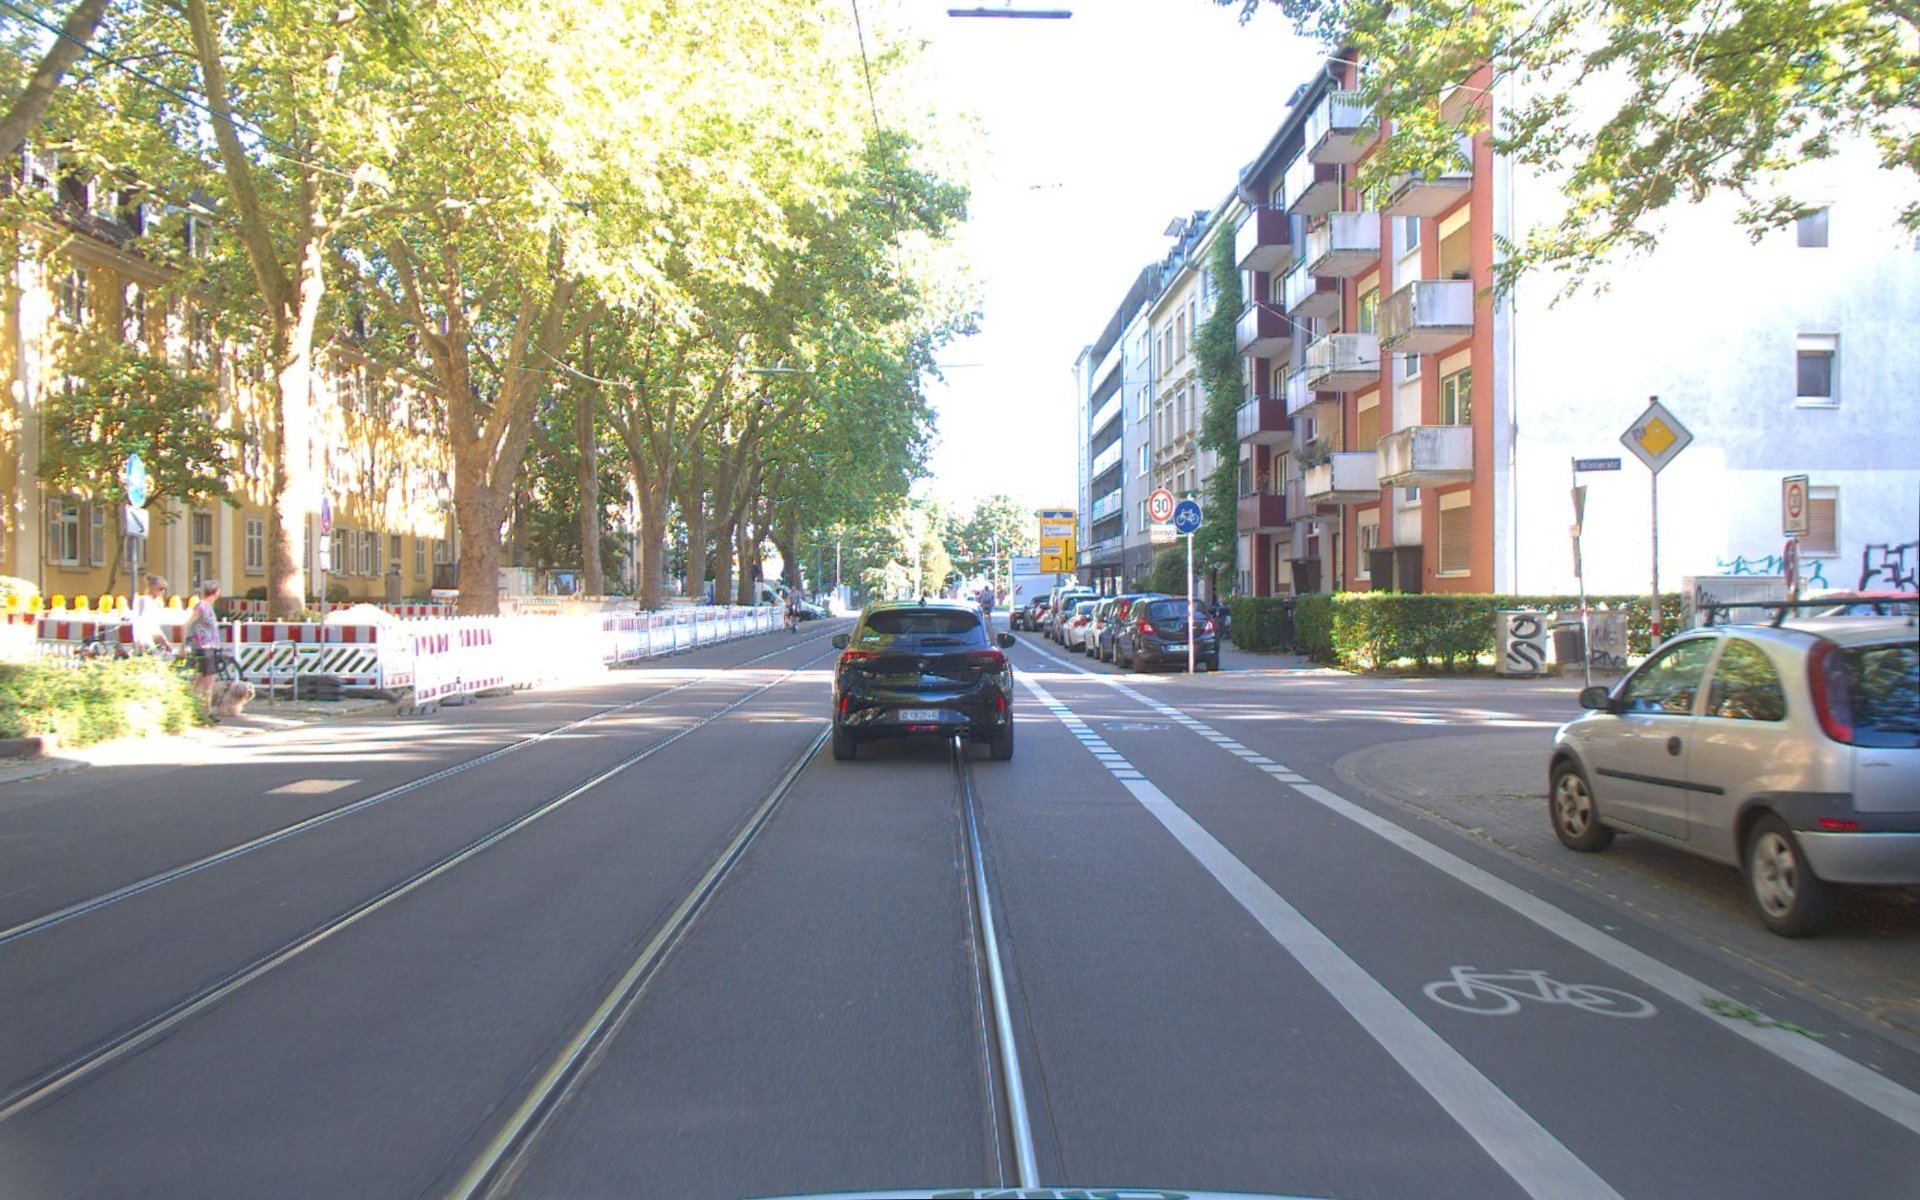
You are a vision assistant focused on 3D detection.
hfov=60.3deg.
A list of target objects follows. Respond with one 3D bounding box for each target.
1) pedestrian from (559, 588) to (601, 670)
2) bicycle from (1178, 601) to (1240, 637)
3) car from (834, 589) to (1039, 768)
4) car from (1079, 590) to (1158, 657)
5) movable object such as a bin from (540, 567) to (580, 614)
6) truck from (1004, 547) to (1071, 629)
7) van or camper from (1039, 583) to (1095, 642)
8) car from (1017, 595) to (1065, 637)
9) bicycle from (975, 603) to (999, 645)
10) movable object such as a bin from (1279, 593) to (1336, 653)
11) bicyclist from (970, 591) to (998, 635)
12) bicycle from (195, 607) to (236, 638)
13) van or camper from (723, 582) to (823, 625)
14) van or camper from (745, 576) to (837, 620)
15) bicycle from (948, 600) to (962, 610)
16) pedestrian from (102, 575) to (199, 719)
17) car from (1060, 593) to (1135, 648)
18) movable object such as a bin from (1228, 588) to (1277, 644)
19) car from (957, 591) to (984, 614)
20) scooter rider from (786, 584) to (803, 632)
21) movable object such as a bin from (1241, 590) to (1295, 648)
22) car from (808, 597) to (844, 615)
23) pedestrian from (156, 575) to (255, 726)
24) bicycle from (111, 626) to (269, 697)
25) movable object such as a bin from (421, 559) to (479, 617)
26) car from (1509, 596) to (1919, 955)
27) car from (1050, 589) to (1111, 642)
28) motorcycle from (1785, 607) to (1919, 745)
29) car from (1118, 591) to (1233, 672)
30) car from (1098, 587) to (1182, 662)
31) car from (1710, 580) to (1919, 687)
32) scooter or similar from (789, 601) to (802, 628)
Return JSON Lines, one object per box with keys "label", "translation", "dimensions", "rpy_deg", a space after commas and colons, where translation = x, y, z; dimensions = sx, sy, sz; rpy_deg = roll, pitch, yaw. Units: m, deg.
{"label": "pedestrian", "translation": [-8.010, 0.598, 34.889], "dimensions": [0.702, 1.698, 0.778], "rpy_deg": [1, 0, -1]}
{"label": "bicycle", "translation": [7.780, 0.595, 51.763], "dimensions": [1.854, 1.047, 0.476], "rpy_deg": [-2, 0, 4]}
{"label": "car", "translation": [-0.242, 0.662, 16.159], "dimensions": [1.745, 1.522, 3.999], "rpy_deg": [0, 0, -1]}
{"label": "car", "translation": [3.979, 0.568, 41.960], "dimensions": [1.559, 1.553, 3.834], "rpy_deg": [-2, 0, 0]}
{"label": "movable object such as a bin", "translation": [-14.671, -0.333, 60.740], "dimensions": [1.075, 1.674, 1.559], "rpy_deg": [1, 0, -1]}
{"label": "truck", "translation": [3.448, -0.530, 74.925], "dimensions": [2.487, 3.396, 7.194], "rpy_deg": [-3, 0, 0]}
{"label": "van or camper", "translation": [3.694, 0.410, 57.725], "dimensions": [1.635, 1.915, 4.210], "rpy_deg": [-1, 0, 0]}
{"label": "car", "translation": [3.343, 0.648, 68.839], "dimensions": [1.695, 1.584, 4.151], "rpy_deg": [-3, 0, 0]}
{"label": "bicycle", "translation": [1.031, 0.921, 64.699], "dimensions": [0.897, 1.588, 3.405], "rpy_deg": [0, 0, 0]}
{"label": "movable object such as a bin", "translation": [7.993, 0.523, 38.034], "dimensions": [1.129, 1.350, 0.775], "rpy_deg": [1, 0, -1]}
{"label": "bicyclist", "translation": [0.933, 0.490, 64.558], "dimensions": [1.067, 1.676, 1.400], "rpy_deg": [0, 0, 0]}
{"label": "bicycle", "translation": [-20.574, 0.618, 45.725], "dimensions": [0.496, 0.833, 1.642], "rpy_deg": [0, 0, -4]}
{"label": "van or camper", "translation": [-10.801, 0.209, 95.848], "dimensions": [5.387, 2.421, 2.270], "rpy_deg": [1, 0, 2]}
{"label": "van or camper", "translation": [-10.730, -0.133, 105.301], "dimensions": [5.607, 2.690, 2.269], "rpy_deg": [1, 0, -1]}
{"label": "bicycle", "translation": [-0.481, 0.524, 165.459], "dimensions": [0.771, 1.009, 2.245], "rpy_deg": [1, 0, 15]}
{"label": "pedestrian", "translation": [-10.239, 0.583, 20.945], "dimensions": [0.805, 1.775, 0.796], "rpy_deg": [1, 0, -1]}
{"label": "car", "translation": [3.926, 0.558, 47.778], "dimensions": [1.626, 1.424, 4.738], "rpy_deg": [-2, 0, -1]}
{"label": "movable object such as a bin", "translation": [7.281, 0.386, 41.219], "dimensions": [0.905, 1.350, 1.681], "rpy_deg": [1, 0, -1]}
{"label": "car", "translation": [0.780, 0.202, 130.636], "dimensions": [1.953, 1.725, 4.738], "rpy_deg": [-2, 0, -1]}
{"label": "scooter rider", "translation": [-6.919, 0.322, 69.286], "dimensions": [0.636, 1.991, 0.624], "rpy_deg": [1, -1, -1]}
{"label": "movable object such as a bin", "translation": [7.321, 0.449, 39.429], "dimensions": [0.947, 1.350, 1.721], "rpy_deg": [1, 0, -1]}
{"label": "car", "translation": [-14.163, 0.623, 174.738], "dimensions": [1.899, 1.725, 4.272], "rpy_deg": [-2, 0, -33]}
{"label": "pedestrian", "translation": [-9.080, 0.596, 19.937], "dimensions": [0.805, 1.775, 0.796], "rpy_deg": [1, 0, -1]}
{"label": "bicycle", "translation": [-11.068, 0.880, 23.804], "dimensions": [1.932, 0.979, 0.726], "rpy_deg": [0, 0, 0]}
{"label": "movable object such as a bin", "translation": [-17.169, -0.385, 55.731], "dimensions": [1.306, 1.901, 2.007], "rpy_deg": [1, 0, -1]}
{"label": "car", "translation": [4.561, 0.748, 9.110], "dimensions": [1.671, 1.498, 3.999], "rpy_deg": [-1, 0, -1]}
{"label": "car", "translation": [3.815, 0.463, 52.762], "dimensions": [1.626, 1.608, 3.588], "rpy_deg": [-1, 0, 0]}
{"label": "motorcycle", "translation": [9.320, 0.736, 17.056], "dimensions": [0.663, 1.321, 2.259], "rpy_deg": [0, 0, 5]}
{"label": "car", "translation": [4.323, 0.587, 33.640], "dimensions": [1.698, 1.487, 3.915], "rpy_deg": [-2, 0, -1]}
{"label": "car", "translation": [4.083, 0.542, 37.956], "dimensions": [1.495, 1.618, 3.751], "rpy_deg": [1, 0, 0]}
{"label": "car", "translation": [13.798, 0.489, 25.422], "dimensions": [3.835, 1.508, 1.561], "rpy_deg": [0, 3, -2]}
{"label": "scooter or similar", "translation": [-6.901, 0.618, 69.331], "dimensions": [0.399, 1.102, 1.338], "rpy_deg": [1, 0, 0]}
